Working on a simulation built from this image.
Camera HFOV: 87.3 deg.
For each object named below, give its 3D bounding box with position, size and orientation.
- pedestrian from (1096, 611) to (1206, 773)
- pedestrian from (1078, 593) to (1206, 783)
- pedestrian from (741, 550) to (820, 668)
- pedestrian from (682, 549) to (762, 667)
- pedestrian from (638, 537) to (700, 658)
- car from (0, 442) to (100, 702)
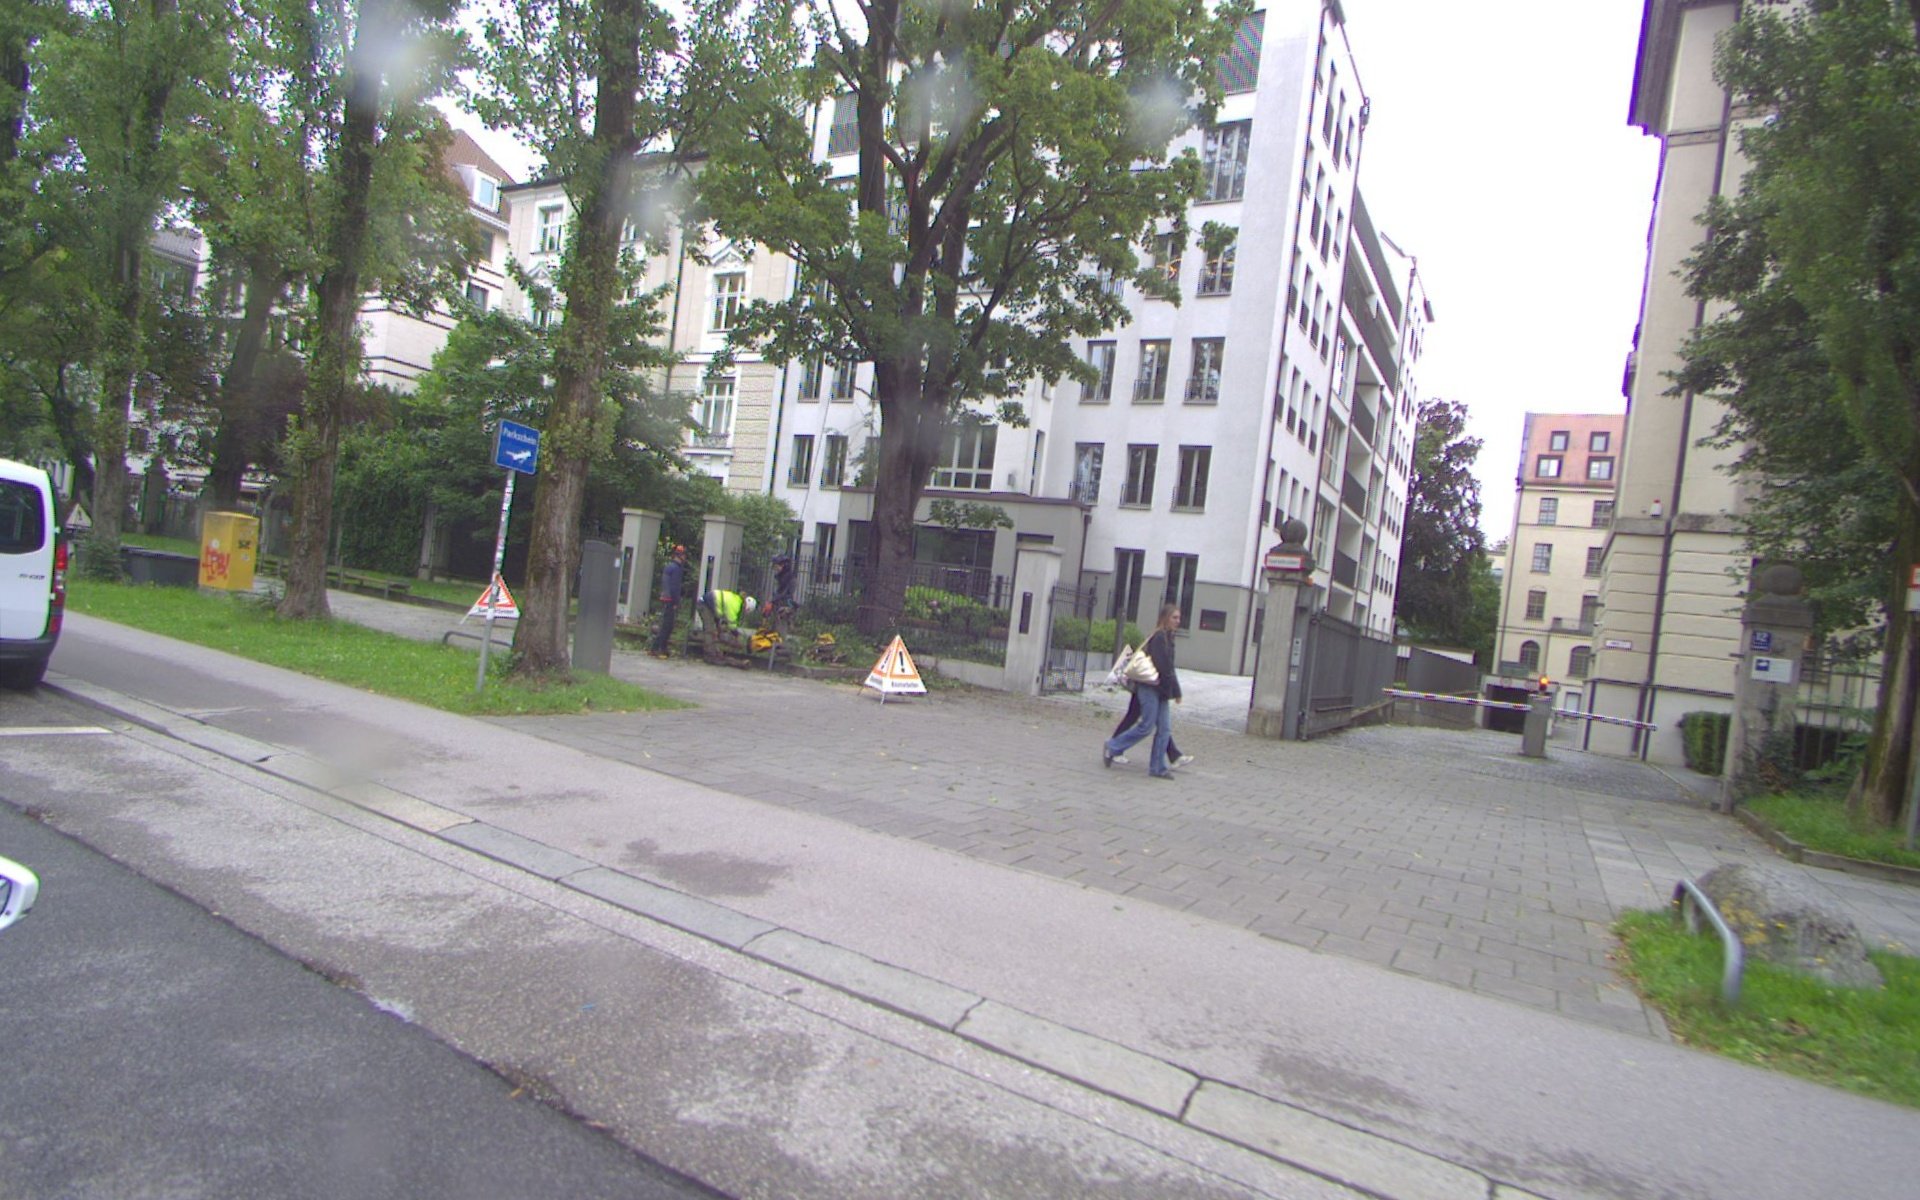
[{"bbox_3d":[2.060,0.977,10.862,0.853,1.598,0.568,7,1,31],"label":"pedestrian"},{"bbox_3d":[1.840,0.856,10.141,0.853,1.739,0.854,7,2,31],"label":"pedestrian"},{"bbox_3d":[-3.022,0.158,17.018,0.814,1.823,0.904,9,2,10],"label":"pedestrian"},{"bbox_3d":[-3.895,0.135,16.505,0.805,1.804,0.802,7,1,14],"label":"pedestrian"},{"bbox_3d":[-4.739,-0.032,16.385,0.626,1.886,0.488,7,1,14],"label":"pedestrian"},{"bbox_3d":[-8.994,-0.450,8.054,4.098,1.904,1.854,7,0,30],"label":"car"}]
